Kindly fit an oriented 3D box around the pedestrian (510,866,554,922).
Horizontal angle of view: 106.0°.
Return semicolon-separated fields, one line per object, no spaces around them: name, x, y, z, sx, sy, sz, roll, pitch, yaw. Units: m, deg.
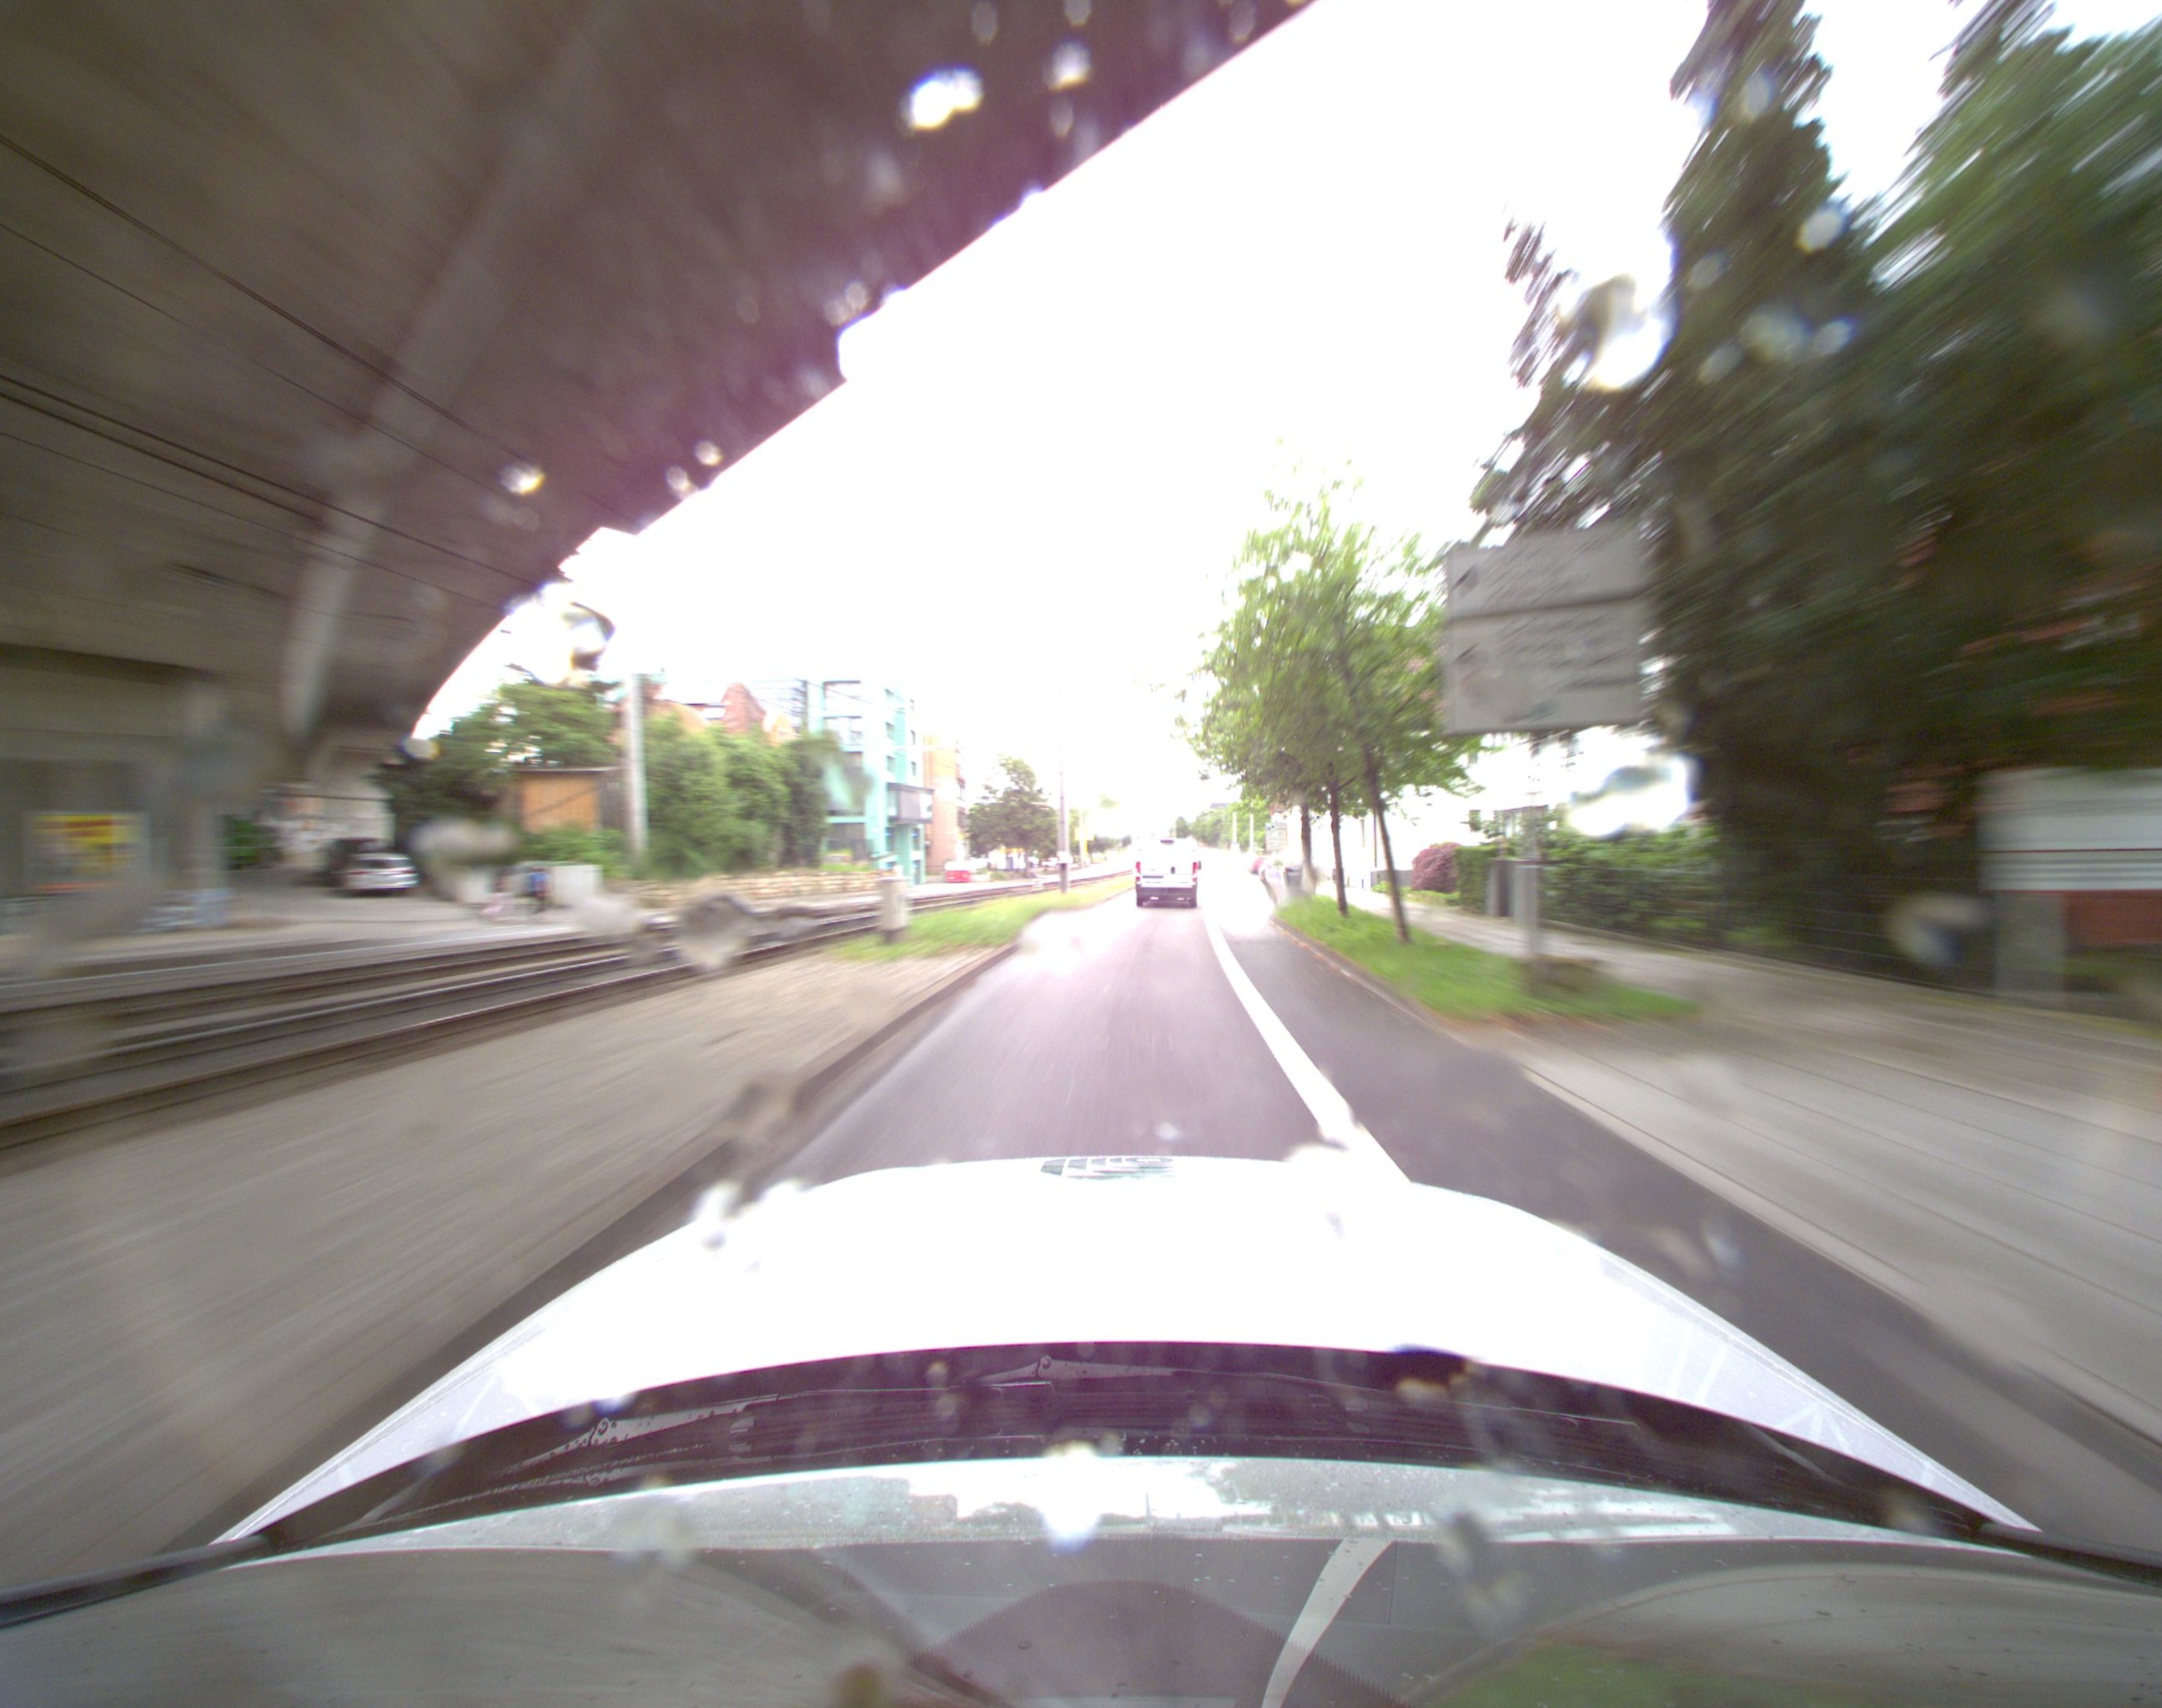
pedestrian;-17.032;1.232;25.267;0.689;1.670;0.891;0;0;11

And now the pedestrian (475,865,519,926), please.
pedestrian;-18.079;1.278;25.216;0.689;1.830;0.869;0;0;9

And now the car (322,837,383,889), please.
car;-31.147;0.356;34.795;1.807;2.039;3.160;2;1;-43

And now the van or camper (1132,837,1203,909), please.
van or camper;2.947;0.619;27.996;2.188;2.253;4.691;1;-1;5

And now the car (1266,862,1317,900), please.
car;8.448;1.033;32.998;1.666;1.423;4.578;0;-1;10

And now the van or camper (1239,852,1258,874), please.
van or camper;20.934;1.087;102.134;1.982;2.563;6.058;1;1;9

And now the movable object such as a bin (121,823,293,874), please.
movable object such as a bin;-44.553;-0.268;41.748;2.613;2.453;5.473;0;0;7

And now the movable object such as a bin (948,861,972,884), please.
movable object such as a bin;-12.090;1.862;81.513;2.126;2.157;1.802;1;1;0

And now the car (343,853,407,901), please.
car;-27.338;0.844;31.496;1.729;1.667;3.160;2;1;-43

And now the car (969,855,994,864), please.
car;-15.637;0.838;128.088;3.773;1.453;1.543;0;0;-17

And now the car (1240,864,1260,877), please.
car;19.782;1.891;95.550;1.779;1.406;4.560;1;0;5

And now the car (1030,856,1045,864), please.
car;-7.638;1.099;143.053;1.983;1.442;4.007;1;-1;7

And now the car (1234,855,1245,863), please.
car;29.547;0.995;152.065;1.837;1.500;3.963;0;0;7

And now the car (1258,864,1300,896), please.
car;9.478;1.211;39.239;1.701;1.412;4.578;-1;-1;10

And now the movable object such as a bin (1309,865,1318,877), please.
movable object such as a bin;17.820;1.324;62.516;0.583;0.879;0.449;-1;-1;8

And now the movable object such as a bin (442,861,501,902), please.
movable object such as a bin;-23.509;1.032;31.403;1.780;1.479;1.571;2;1;44

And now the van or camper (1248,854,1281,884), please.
van or camper;12.263;0.975;54.695;1.840;1.920;5.008;-1;-1;10

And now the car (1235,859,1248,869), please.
car;24.235;1.542;122.994;1.637;1.446;3.964;1;0;9
